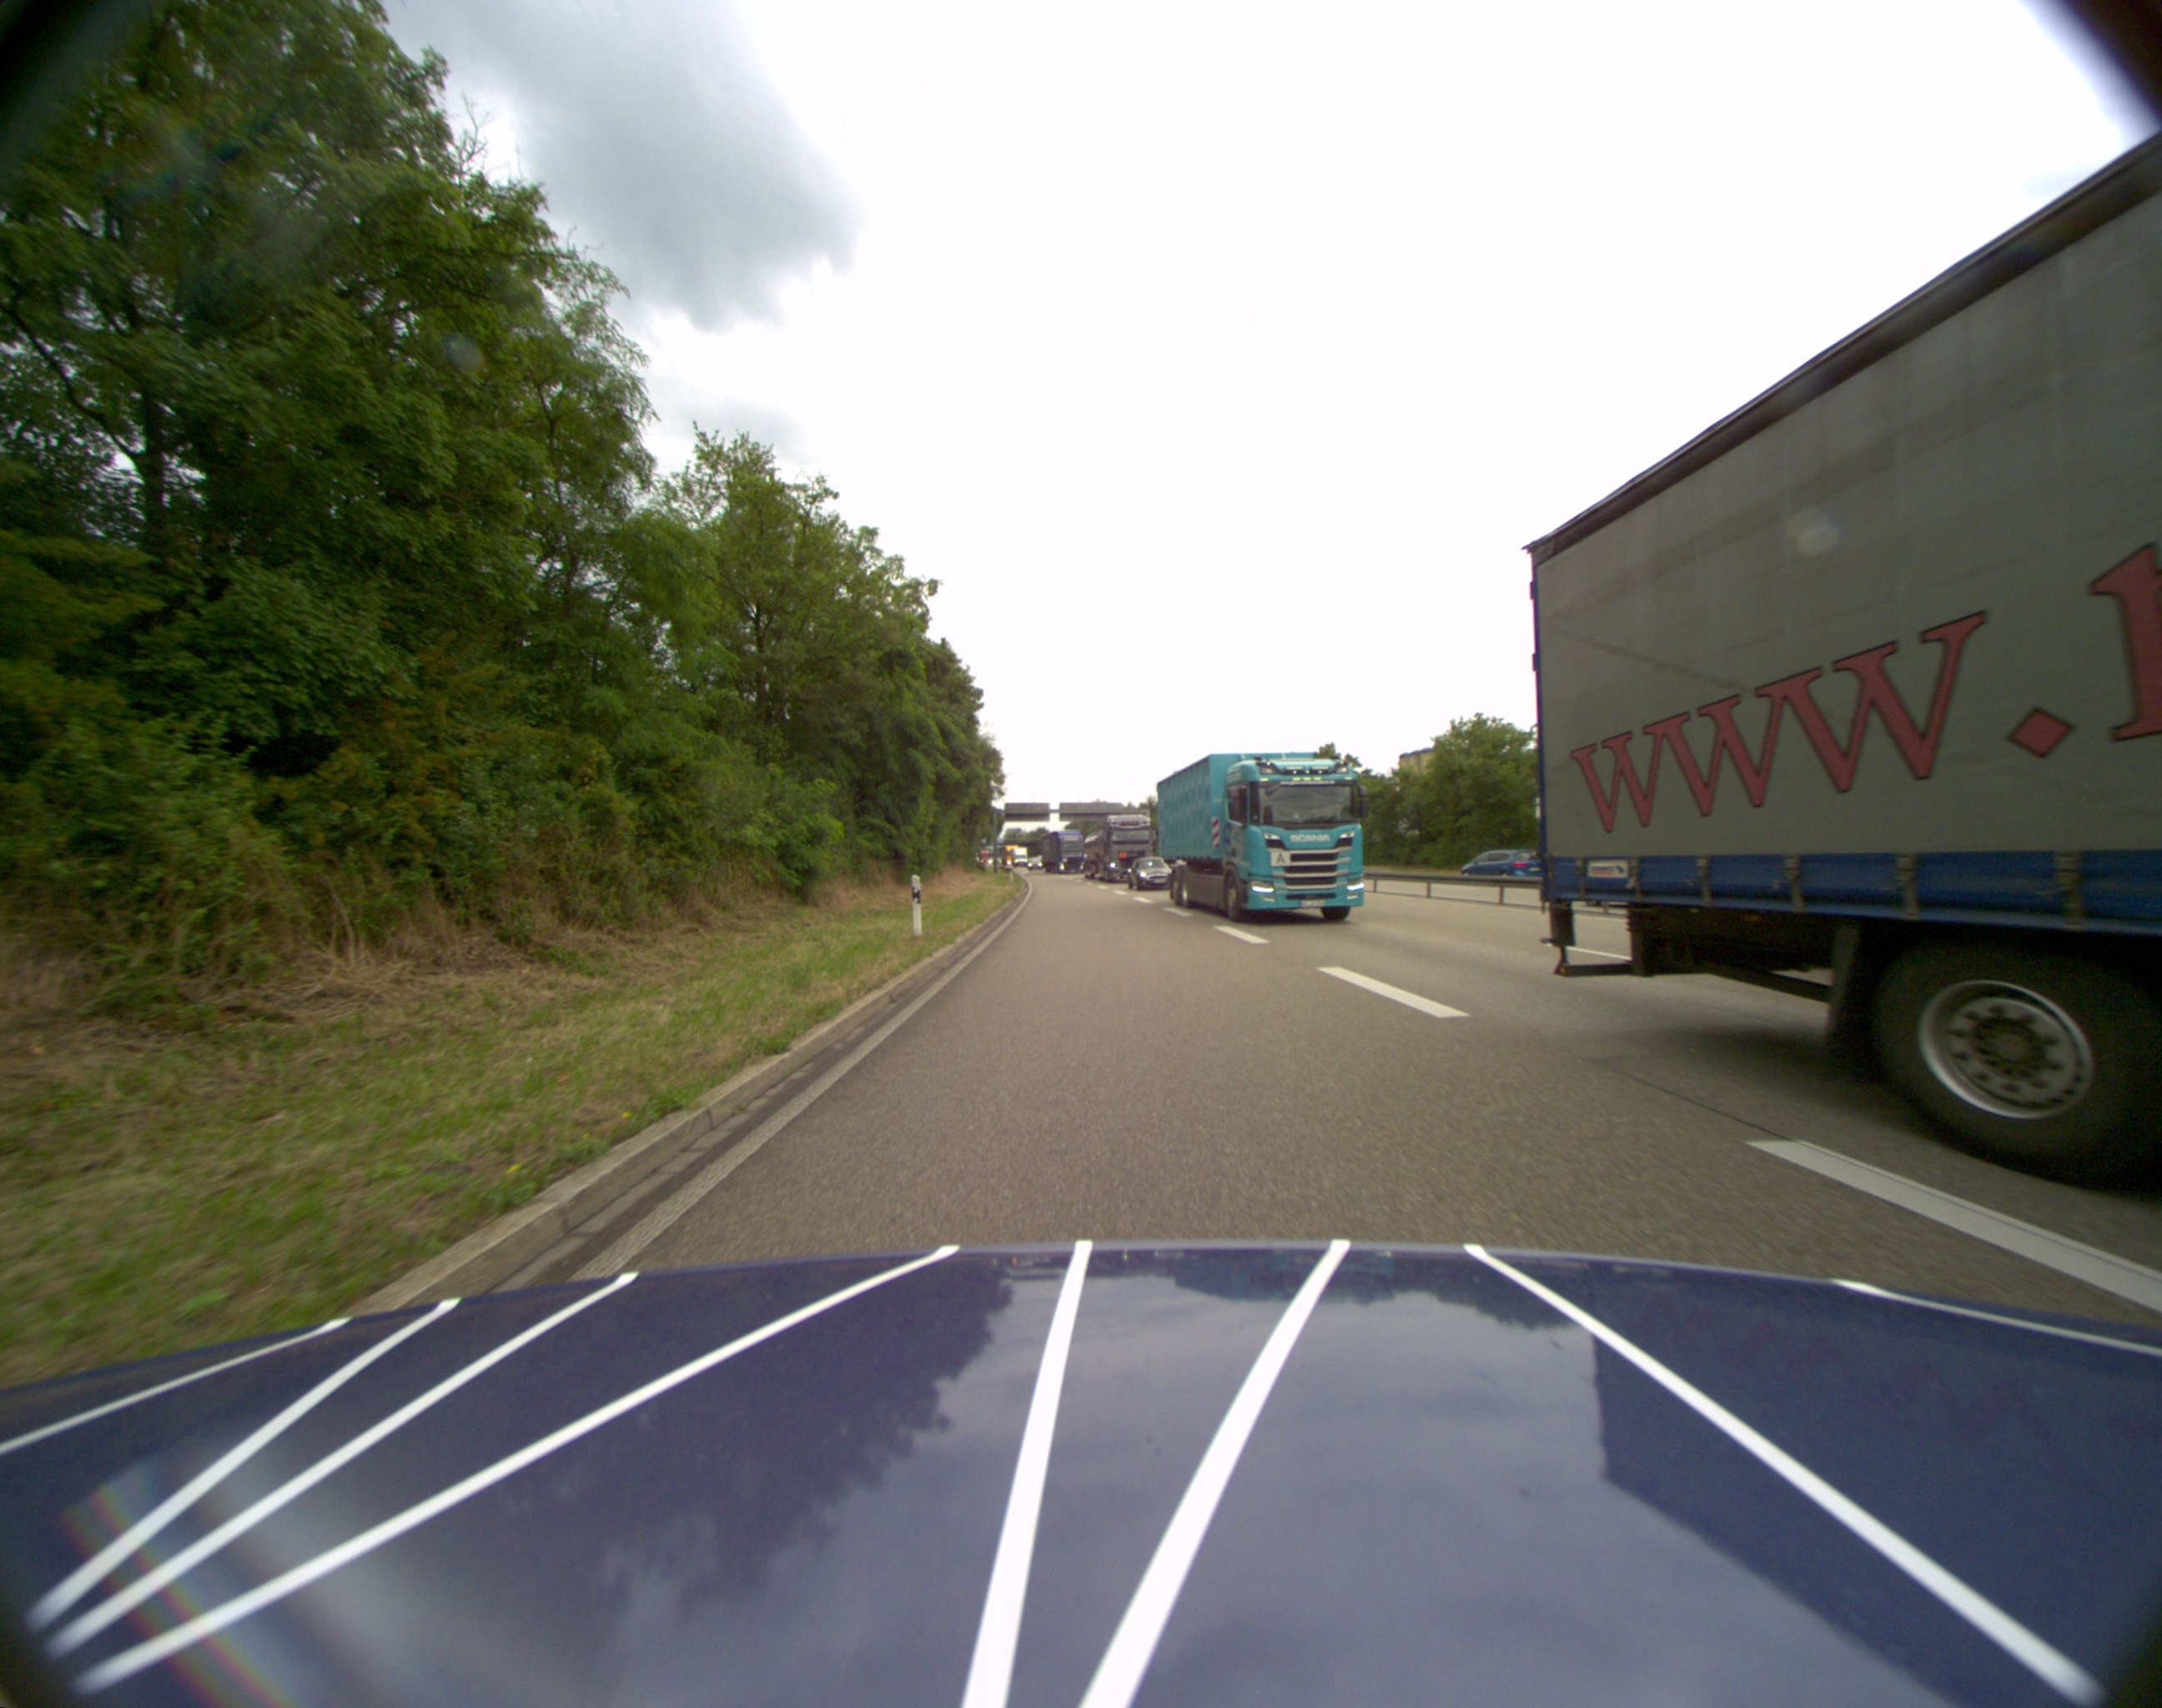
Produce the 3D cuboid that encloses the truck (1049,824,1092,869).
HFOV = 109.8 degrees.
[{"bbox_3d":[-1.109,-0.634,71.490,2.963,3.946,7.465,-2,0,-8],"label":"truck"}]

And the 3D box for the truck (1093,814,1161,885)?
[{"bbox_3d":[2.607,-0.269,45.306,2.691,3.884,6.931,-1,0,-8],"label":"truck"}]

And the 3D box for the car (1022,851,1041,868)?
[{"bbox_3d":[-6.027,0.670,91.757,1.753,2.002,3.996,-1,0,-11],"label":"car"}]

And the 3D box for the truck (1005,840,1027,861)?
[{"bbox_3d":[-13.361,-0.646,154.834,3.368,4.041,10.174,-2,1,-10],"label":"truck"}]

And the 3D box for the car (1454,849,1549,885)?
[{"bbox_3d":[19.888,0.592,36.194,1.632,1.588,4.422,-1,0,-8],"label":"car"}]

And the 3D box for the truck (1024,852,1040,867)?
[{"bbox_3d":[-6.841,0.697,105.934,1.895,2.002,6.087,0,0,-6],"label":"truck"}]

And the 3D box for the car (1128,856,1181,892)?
[{"bbox_3d":[3.169,0.836,33.372,1.752,1.413,3.662,0,0,-4],"label":"car"}]

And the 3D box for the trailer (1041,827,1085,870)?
[{"bbox_3d":[-2.068,-0.581,79.079,2.847,4.013,13.075,-2,1,-9],"label":"trailer"}]

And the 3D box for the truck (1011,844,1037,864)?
[{"bbox_3d":[-9.441,-0.015,125.303,3.368,3.099,7.232,-2,1,-11],"label":"truck"}]

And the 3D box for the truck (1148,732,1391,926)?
[{"bbox_3d":[4.225,-0.485,20.567,2.938,3.774,11.325,0,0,-5],"label":"truck"}]

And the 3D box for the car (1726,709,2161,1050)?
[{"bbox_3d":[9.222,0.158,6.004,2.228,2.563,6.795,-2,1,-3],"label":"car"}]

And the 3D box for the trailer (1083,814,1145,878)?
[{"bbox_3d":[2.030,-0.461,51.742,2.691,3.884,10.981,-1,0,-5],"label":"trailer"}]
